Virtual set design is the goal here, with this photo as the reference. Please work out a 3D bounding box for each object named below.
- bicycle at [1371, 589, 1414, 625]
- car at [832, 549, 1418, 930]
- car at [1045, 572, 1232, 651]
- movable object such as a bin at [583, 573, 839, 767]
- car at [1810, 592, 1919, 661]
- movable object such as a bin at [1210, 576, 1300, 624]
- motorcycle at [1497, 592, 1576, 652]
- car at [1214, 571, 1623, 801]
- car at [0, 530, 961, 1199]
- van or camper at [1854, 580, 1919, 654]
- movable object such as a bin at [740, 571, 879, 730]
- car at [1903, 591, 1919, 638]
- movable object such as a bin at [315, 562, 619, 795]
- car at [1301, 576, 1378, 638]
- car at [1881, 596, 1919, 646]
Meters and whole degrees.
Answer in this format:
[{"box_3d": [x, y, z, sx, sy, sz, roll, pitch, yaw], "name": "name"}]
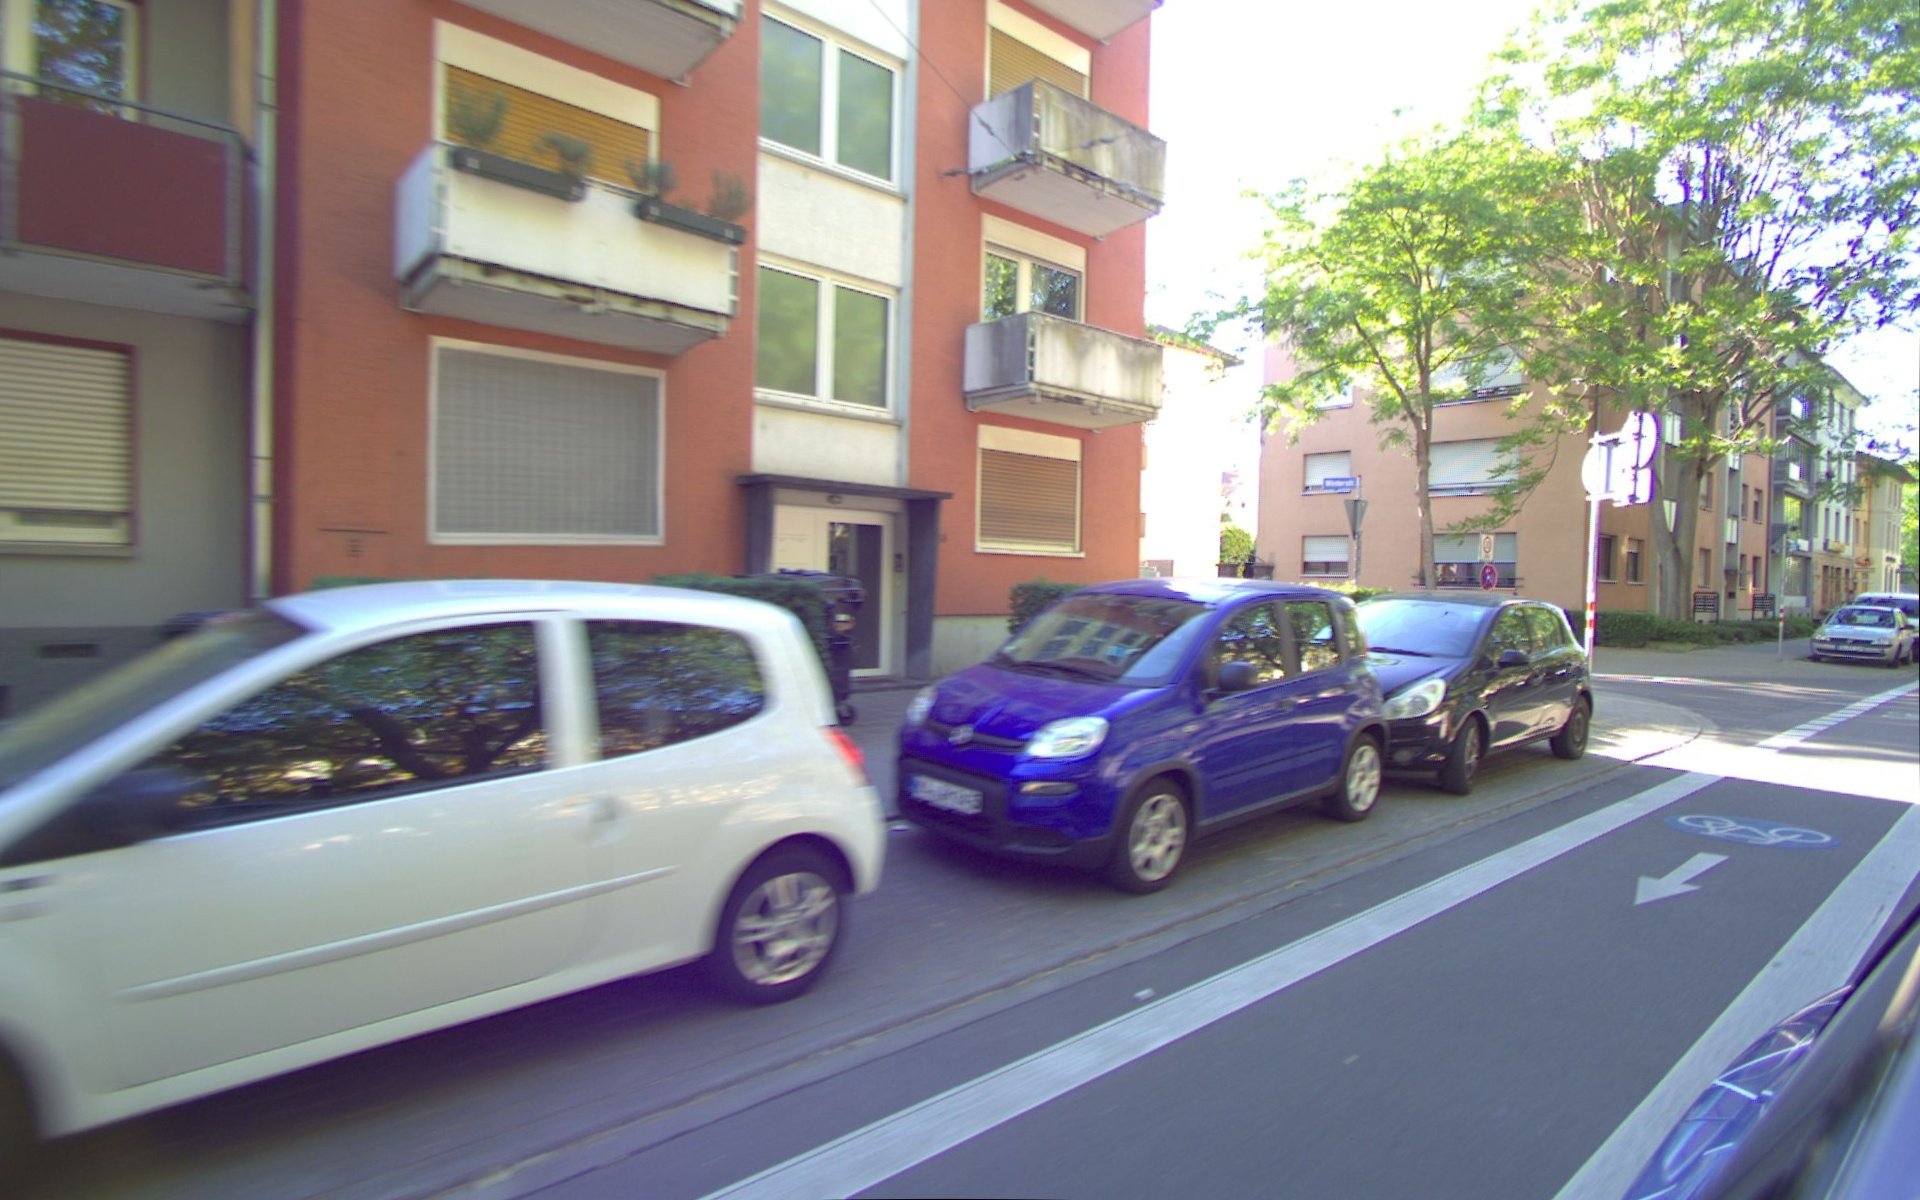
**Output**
[{"box_3d": [13.630, 0.214, 31.868, 1.744, 1.113, 0.513, 0, 1, -41], "name": "bicycle"}, {"box_3d": [1.184, 0.561, 6.082, 3.688, 1.610, 1.528, 0, 1, -42], "name": "car"}, {"box_3d": [3.856, 0.220, 22.328, 1.533, 1.501, 3.921, 4, -1, -41], "name": "car"}, {"box_3d": [-1.927, 0.468, 7.920, 1.691, 1.343, 0.969, 0, 1, -40], "name": "movable object such as a bin"}, {"box_3d": [22.392, 0.599, 24.859, 3.930, 1.491, 1.709, 0, 2, -41], "name": "car"}, {"box_3d": [9.734, -0.041, 33.449, 1.355, 1.436, 2.543, -2, 3, -43], "name": "movable object such as a bin"}, {"box_3d": [13.408, 0.478, 23.519, 2.214, 1.314, 0.680, 0, 2, -35], "name": "motorcycle"}, {"box_3d": [4.094, 0.573, 8.776, 3.848, 1.479, 1.737, 0, 4, -41], "name": "car"}, {"box_3d": [-1.965, 0.591, 3.432, 3.767, 1.545, 1.595, 0, 4, -40], "name": "car"}, {"box_3d": [26.472, 0.446, 28.204, 4.747, 1.887, 1.758, 0, 2, -42], "name": "van or camper"}, {"box_3d": [-1.388, 0.413, 9.244, 0.761, 1.343, 1.155, 0, 1, -40], "name": "movable object such as a bin"}, {"box_3d": [34.552, 0.543, 35.409, 4.261, 1.591, 1.772, 0, 4, -41], "name": "car"}, {"box_3d": [-3.253, 0.438, 6.734, 1.652, 1.343, 0.925, 0, 1, -40], "name": "movable object such as a bin"}, {"box_3d": [10.549, 0.136, 28.322, 1.704, 1.559, 3.979, 2, 1, 17], "name": "car"}, {"box_3d": [30.739, 0.662, 32.140, 4.095, 1.491, 1.709, 0, 2, -41], "name": "car"}]
